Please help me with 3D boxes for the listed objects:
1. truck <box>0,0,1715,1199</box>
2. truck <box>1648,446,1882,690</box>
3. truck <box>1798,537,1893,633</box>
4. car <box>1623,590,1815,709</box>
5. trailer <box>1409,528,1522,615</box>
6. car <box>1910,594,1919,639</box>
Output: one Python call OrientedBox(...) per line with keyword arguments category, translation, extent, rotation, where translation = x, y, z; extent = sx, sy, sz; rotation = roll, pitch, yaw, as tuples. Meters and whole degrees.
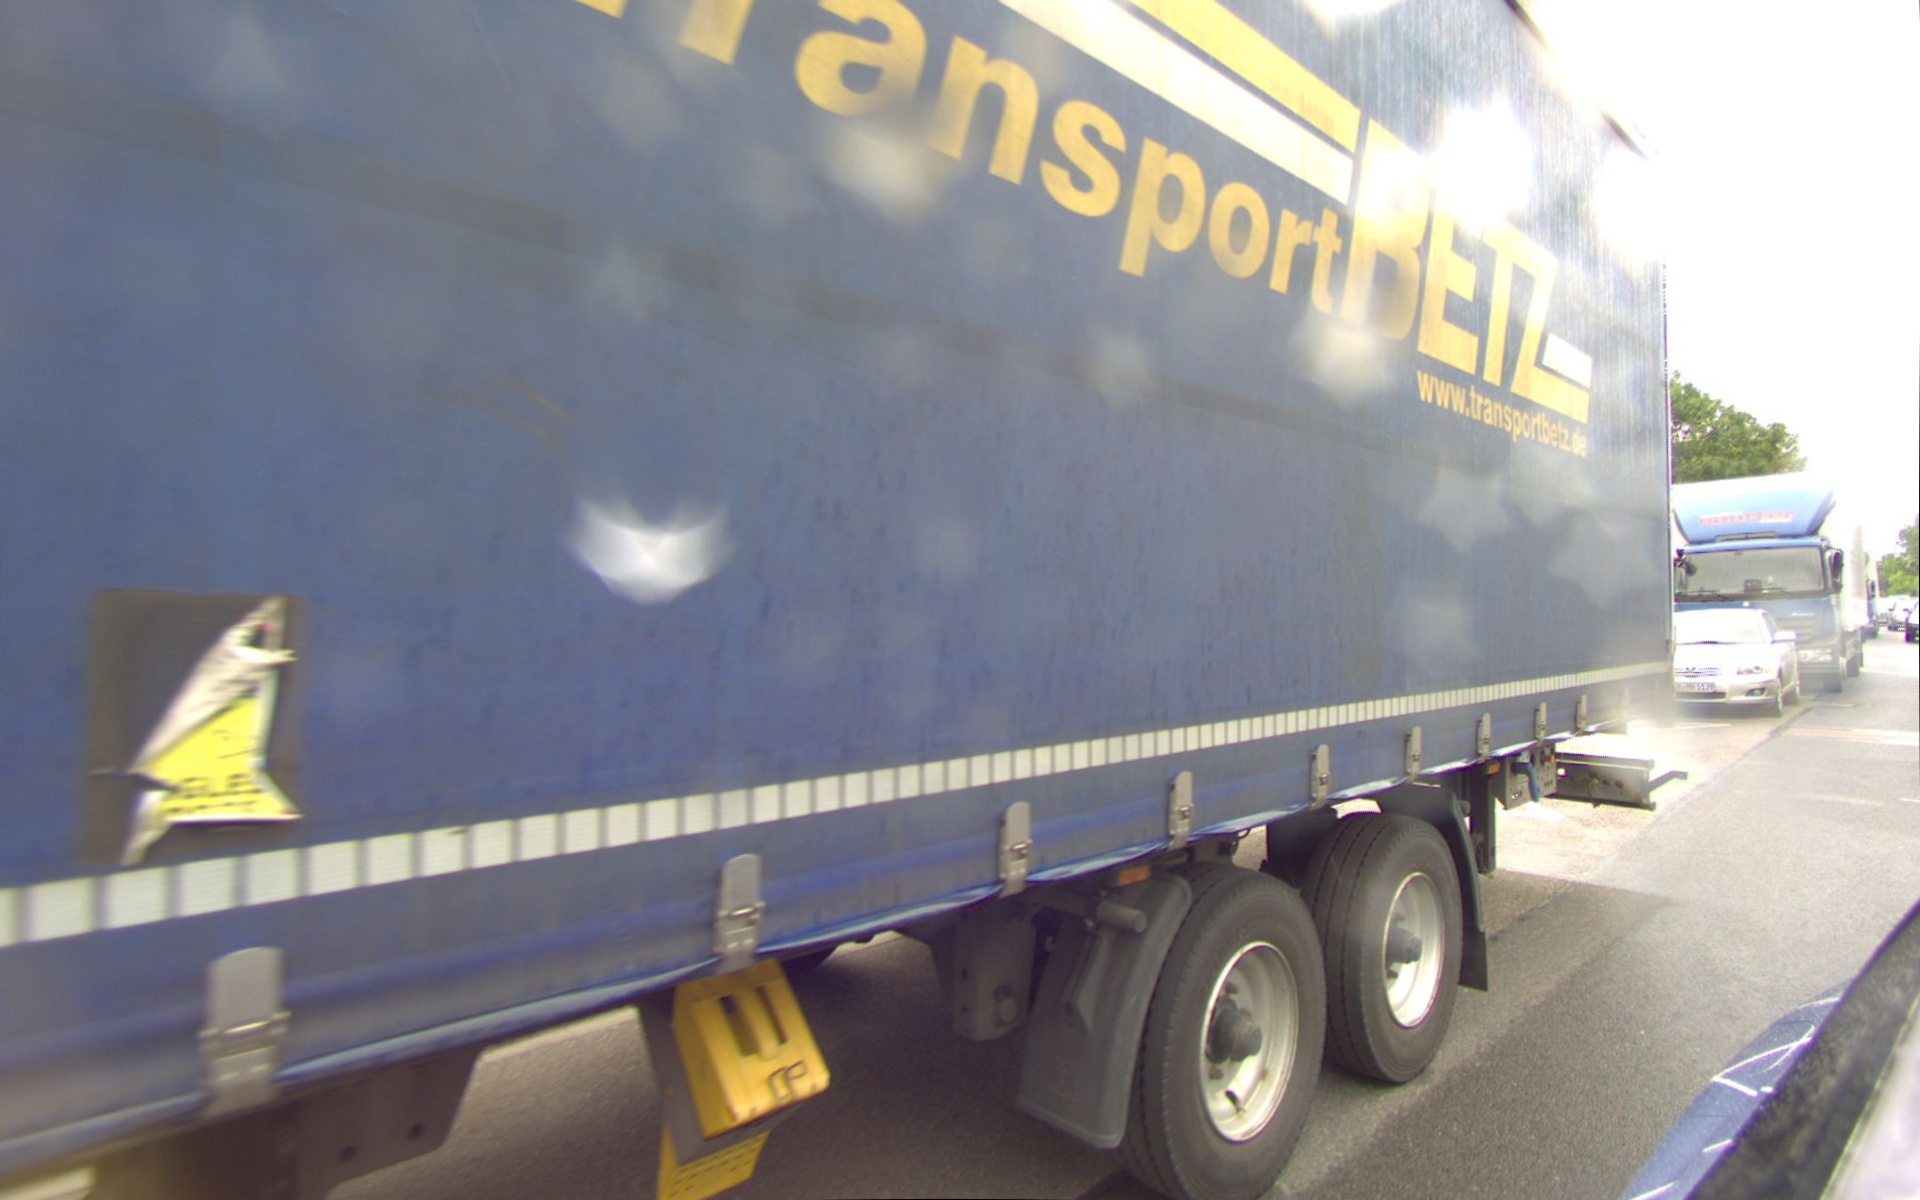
OrientedBox(category="truck", translation=(0.242, -0.271, 3.692), extent=(7.621, 3.657, 2.743), rotation=(0, -1, -44))
OrientedBox(category="truck", translation=(16.304, -0.495, 20.151), extent=(2.740, 3.838, 9.152), rotation=(-2, -1, 44))
OrientedBox(category="truck", translation=(37.736, -0.568, 43.023), extent=(2.670, 3.739, 7.884), rotation=(-2, -1, 43))
OrientedBox(category="car", translation=(11.248, 0.602, 14.881), extent=(1.797, 1.459, 4.277), rotation=(2, 1, 43))
OrientedBox(category="trailer", translation=(27.422, -1.460, 54.595), extent=(2.966, 4.296, 9.325), rotation=(1, 1, 43))
OrientedBox(category="car", translation=(36.331, 0.605, 37.117), extent=(1.992, 1.583, 3.940), rotation=(1, 1, 41))
